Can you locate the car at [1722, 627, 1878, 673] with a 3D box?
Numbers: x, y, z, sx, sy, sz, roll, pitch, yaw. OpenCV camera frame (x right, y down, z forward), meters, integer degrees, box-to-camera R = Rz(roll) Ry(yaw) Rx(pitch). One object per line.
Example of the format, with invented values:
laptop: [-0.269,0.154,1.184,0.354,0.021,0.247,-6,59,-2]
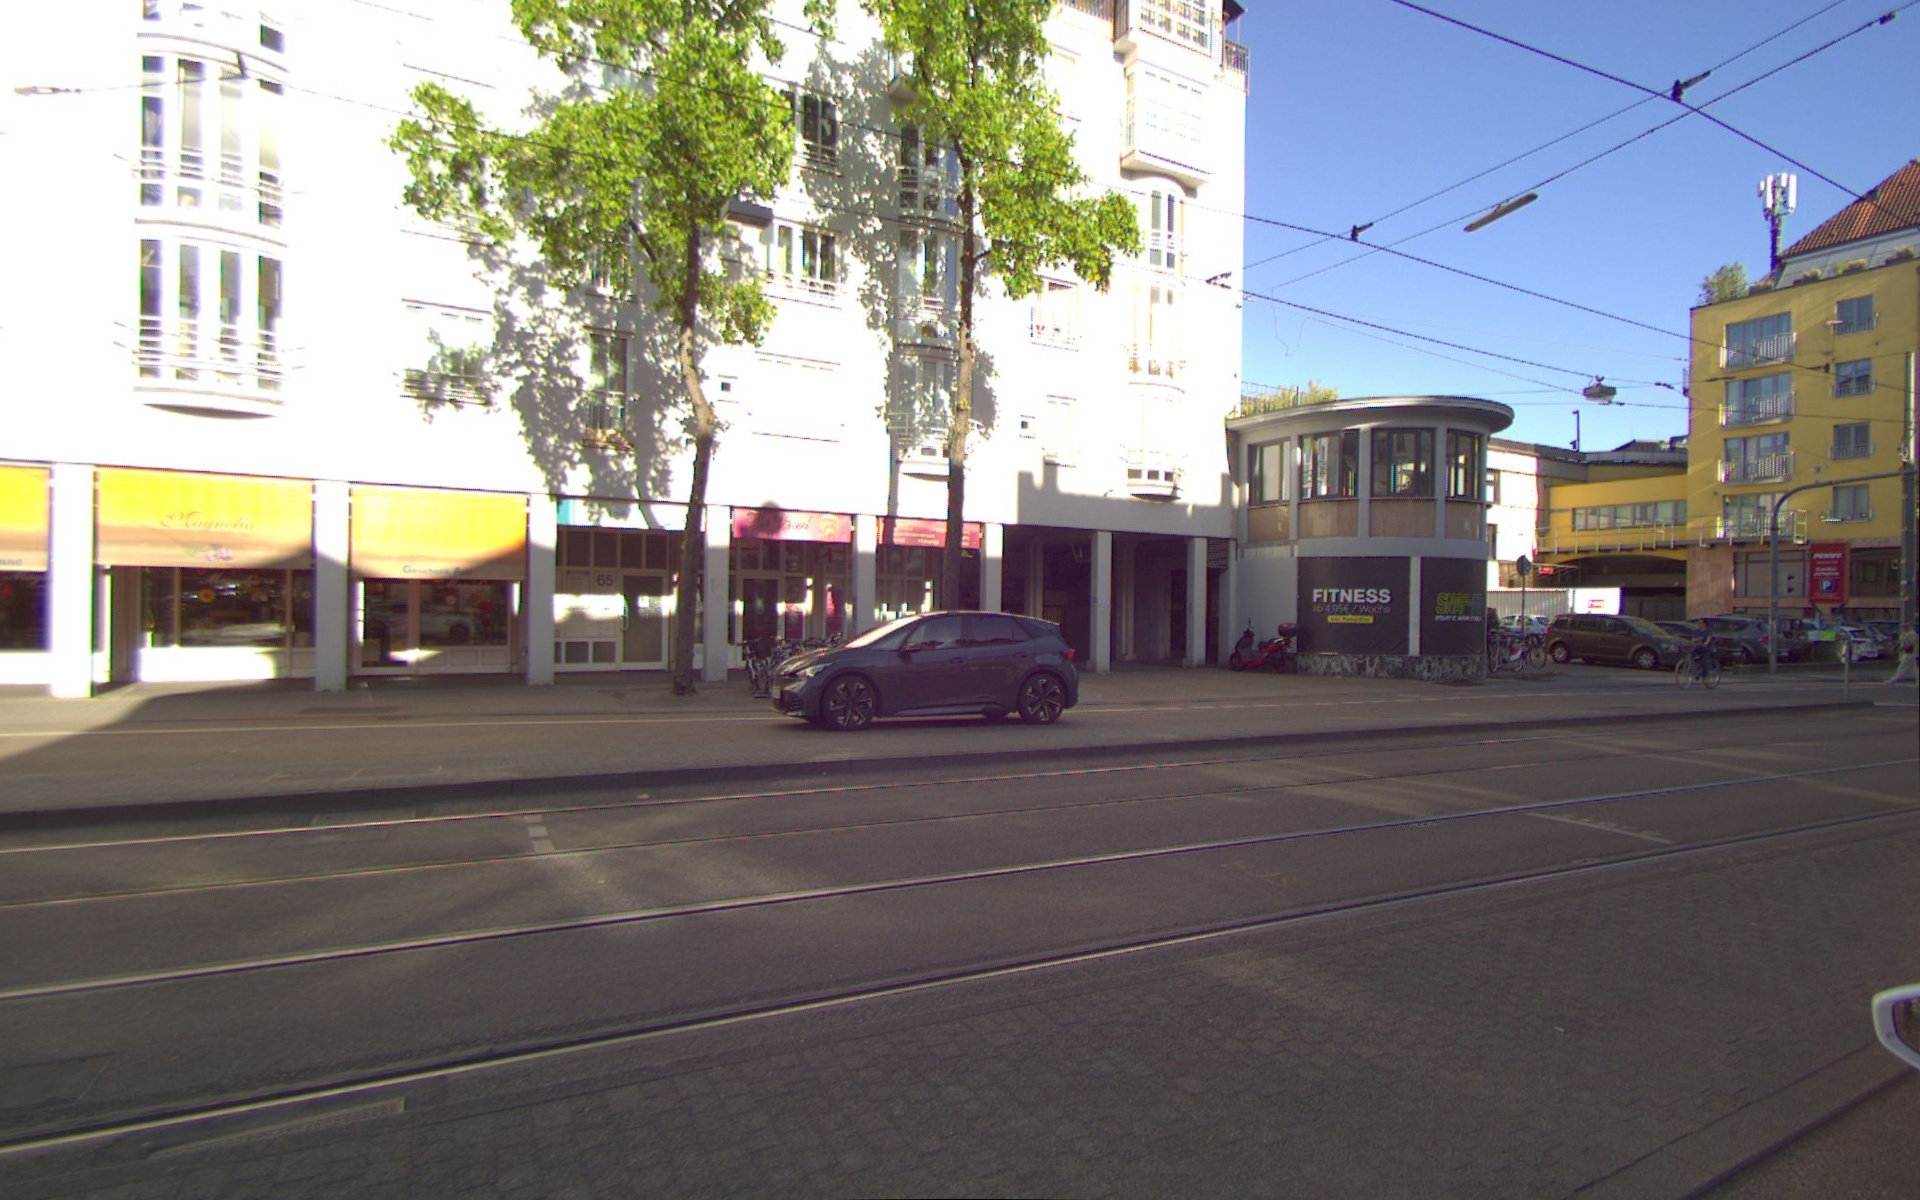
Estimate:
car: [31.573,1.856,37.883,1.764,1.630,4.214,2,-2,-30]

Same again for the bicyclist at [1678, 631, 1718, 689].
bicyclist: [18.178,1.471,24.741,0.710,1.379,0.560,1,0,-30]

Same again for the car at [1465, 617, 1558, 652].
car: [26.257,1.608,47.921,1.677,1.499,3.559,-1,1,-32]

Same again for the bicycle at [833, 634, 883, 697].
bicycle: [-1.974,1.219,19.183,0.458,1.091,1.870,1,-1,-21]

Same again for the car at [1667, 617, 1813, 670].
car: [27.291,1.467,35.252,1.764,1.695,3.673,1,0,-29]

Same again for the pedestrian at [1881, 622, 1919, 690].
pedestrian: [25.286,1.493,26.949,0.773,1.787,0.708,1,0,-37]

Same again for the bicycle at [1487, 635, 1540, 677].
bicycle: [14.416,1.441,26.131,1.863,1.050,0.520,1,-1,-38]

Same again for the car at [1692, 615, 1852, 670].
car: [29.514,1.531,36.641,1.764,1.835,4.214,3,-3,-30]

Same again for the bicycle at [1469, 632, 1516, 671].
bicycle: [14.960,1.424,28.203,1.863,1.050,0.460,1,-1,-38]

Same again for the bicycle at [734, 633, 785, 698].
bicycle: [-3.712,1.180,18.536,0.504,1.091,1.868,1,-1,-24]

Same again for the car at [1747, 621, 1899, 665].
car: [33.810,1.660,39.474,1.764,1.568,4.214,3,-3,-30]

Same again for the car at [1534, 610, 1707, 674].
car: [20.751,1.259,31.723,1.764,1.787,4.213,1,0,-30]

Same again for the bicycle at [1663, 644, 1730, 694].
bicycle: [18.143,1.679,24.727,1.980,1.138,0.561,1,0,-30]

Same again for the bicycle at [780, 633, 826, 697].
bicycle: [-2.951,1.193,18.774,0.458,1.091,1.870,1,-1,-21]

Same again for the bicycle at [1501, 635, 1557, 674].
bicycle: [16.395,1.545,28.982,0.417,1.050,1.878,1,-1,-5]

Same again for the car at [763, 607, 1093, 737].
car: [-0.426,0.914,13.818,4.209,1.561,1.774,1,-1,-25]

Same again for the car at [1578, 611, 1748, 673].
car: [22.789,1.299,32.729,1.764,1.836,4.214,1,-1,-30]

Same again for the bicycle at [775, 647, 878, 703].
bicycle: [-2.338,1.302,17.603,1.728,0.944,0.469,1,0,-21]

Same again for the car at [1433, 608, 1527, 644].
car: [24.333,1.177,47.087,1.609,1.501,3.617,-1,1,-32]

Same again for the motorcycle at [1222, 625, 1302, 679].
motorcycle: [7.716,1.305,25.773,0.668,1.280,1.969,1,0,-35]

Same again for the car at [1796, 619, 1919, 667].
car: [38.095,1.781,42.218,1.764,1.836,4.214,1,-1,-30]

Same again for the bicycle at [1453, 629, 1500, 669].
bicycle: [14.780,1.398,28.731,1.863,1.102,0.460,1,-1,-38]

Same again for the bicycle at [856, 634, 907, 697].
bicycle: [-1.523,1.225,19.205,0.458,1.091,1.870,1,-1,-21]

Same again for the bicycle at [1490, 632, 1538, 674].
bicycle: [15.313,1.449,27.754,1.863,1.094,0.460,1,-1,-38]

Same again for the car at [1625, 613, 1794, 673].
car: [25.154,1.408,33.862,1.764,1.836,4.214,1,-1,-30]
